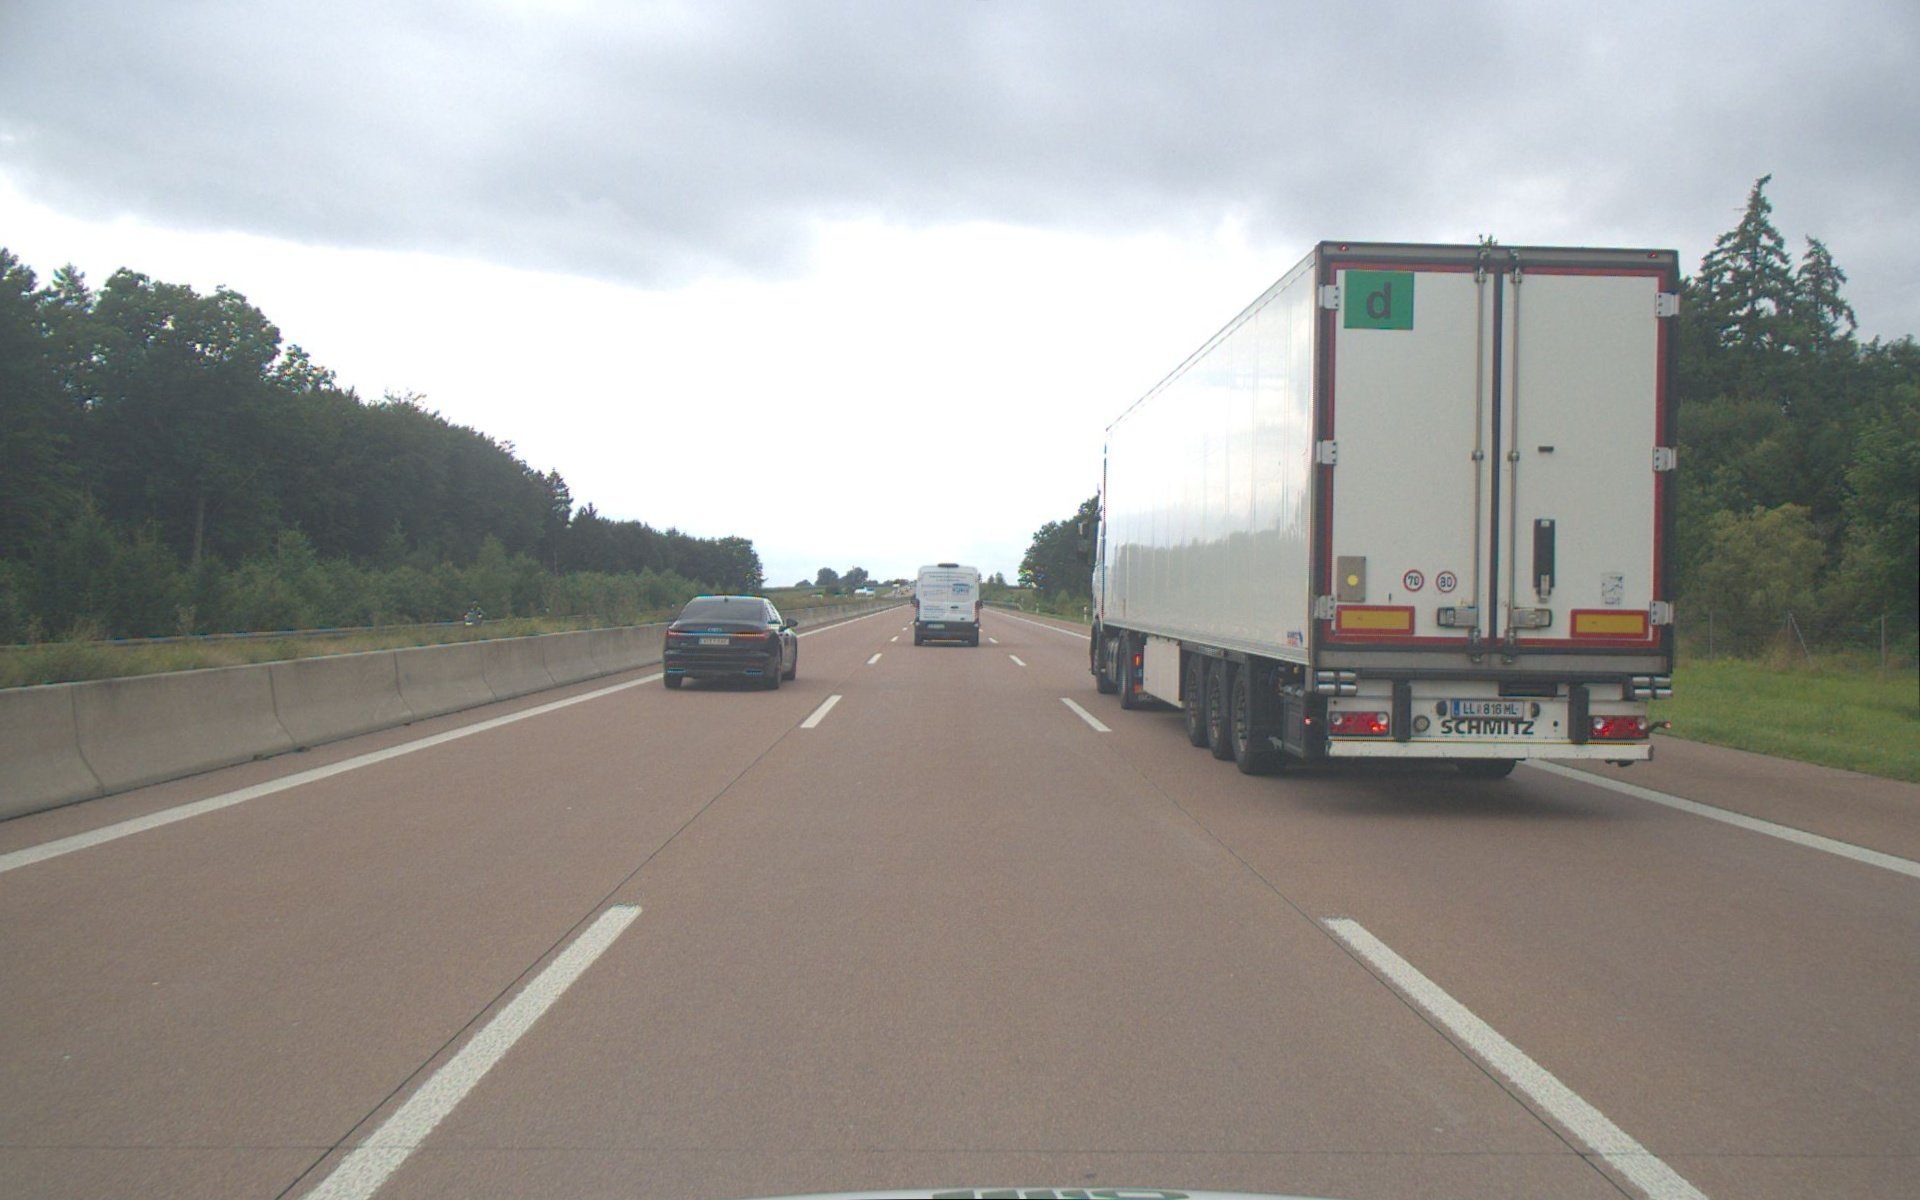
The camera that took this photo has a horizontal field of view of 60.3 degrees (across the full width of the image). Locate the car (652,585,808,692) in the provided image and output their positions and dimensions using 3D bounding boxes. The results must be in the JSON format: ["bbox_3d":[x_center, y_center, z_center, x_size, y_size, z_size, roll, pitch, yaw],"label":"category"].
[{"bbox_3d":[-3.751,0.554,27.941,2.043,1.577,5.671,1,1,-2],"label":"car"}]

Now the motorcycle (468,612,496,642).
[{"bbox_3d":[-20.249,1.134,70.133,0.588,1.175,2.154,2,0,-1],"label":"motorcycle"}]

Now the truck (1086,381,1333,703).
[{"bbox_3d":[3.614,-0.794,25.270,2.862,4.369,5.333,0,0,-1],"label":"truck"}]

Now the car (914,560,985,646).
[{"bbox_3d":[-0.344,0.045,52.835,2.094,2.551,7.131,0,1,0],"label":"car"}]

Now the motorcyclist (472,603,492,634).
[{"bbox_3d":[-20.225,0.770,69.957,0.582,1.306,0.801,2,0,-1],"label":"motorcyclist"}]

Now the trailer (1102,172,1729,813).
[{"bbox_3d":[3.722,-0.744,18.145,2.862,4.369,13.610,0,0,-1],"label":"trailer"}]
